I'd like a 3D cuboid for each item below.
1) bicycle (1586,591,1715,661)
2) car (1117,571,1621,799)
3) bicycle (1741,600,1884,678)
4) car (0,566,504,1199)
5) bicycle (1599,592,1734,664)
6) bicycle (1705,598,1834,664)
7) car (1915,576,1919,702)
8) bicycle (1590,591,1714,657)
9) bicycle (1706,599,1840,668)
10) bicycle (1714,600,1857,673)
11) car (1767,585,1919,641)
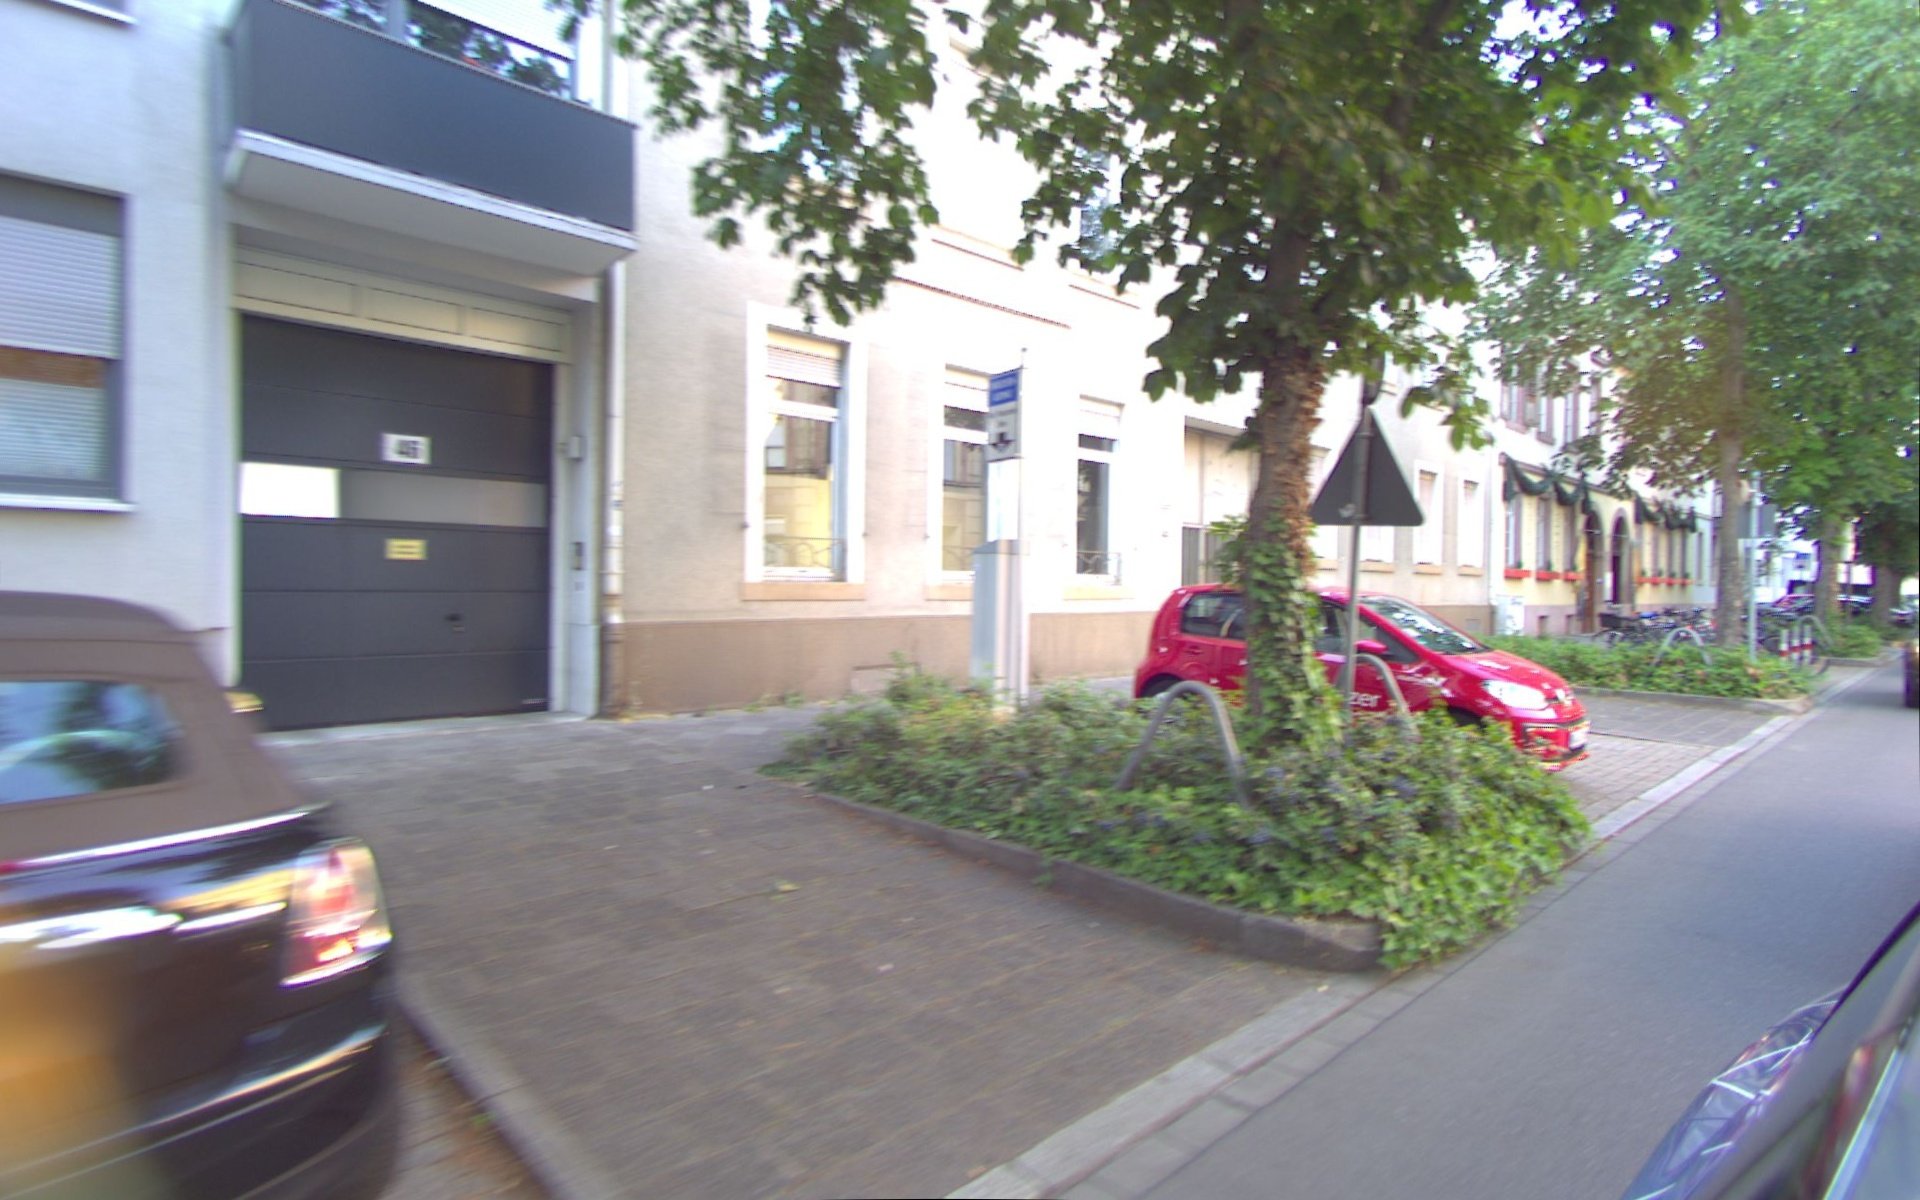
[{"bbox_3d":[13.365,0.475,19.633,2.017,1.242,0.529,2,1,36],"label":"bicycle"},{"bbox_3d":[3.285,0.519,8.572,1.637,1.495,3.613,-1,2,-44],"label":"car"},{"bbox_3d":[14.818,0.660,17.654,1.837,1.242,0.529,2,1,36],"label":"bicycle"},{"bbox_3d":[-2.769,0.600,2.658,3.610,1.380,1.639,2,2,44],"label":"car"},{"bbox_3d":[13.107,0.489,18.836,2.017,1.242,0.529,2,1,36],"label":"bicycle"},{"bbox_3d":[16.605,0.613,20.792,2.021,1.242,0.528,2,2,42],"label":"bicycle"},{"bbox_3d":[14.041,0.494,13.343,3.932,1.571,1.804,-1,2,-42],"label":"car"},{"bbox_3d":[14.048,0.454,20.591,2.019,1.242,0.528,2,2,40],"label":"bicycle"},{"bbox_3d":[16.085,0.628,20.067,2.021,1.242,0.528,2,2,42],"label":"bicycle"},{"bbox_3d":[15.388,0.652,18.910,2.021,1.242,0.528,2,2,42],"label":"bicycle"},{"bbox_3d":[30.509,0.396,34.730,1.713,1.761,4.236,0,2,-44],"label":"car"}]
